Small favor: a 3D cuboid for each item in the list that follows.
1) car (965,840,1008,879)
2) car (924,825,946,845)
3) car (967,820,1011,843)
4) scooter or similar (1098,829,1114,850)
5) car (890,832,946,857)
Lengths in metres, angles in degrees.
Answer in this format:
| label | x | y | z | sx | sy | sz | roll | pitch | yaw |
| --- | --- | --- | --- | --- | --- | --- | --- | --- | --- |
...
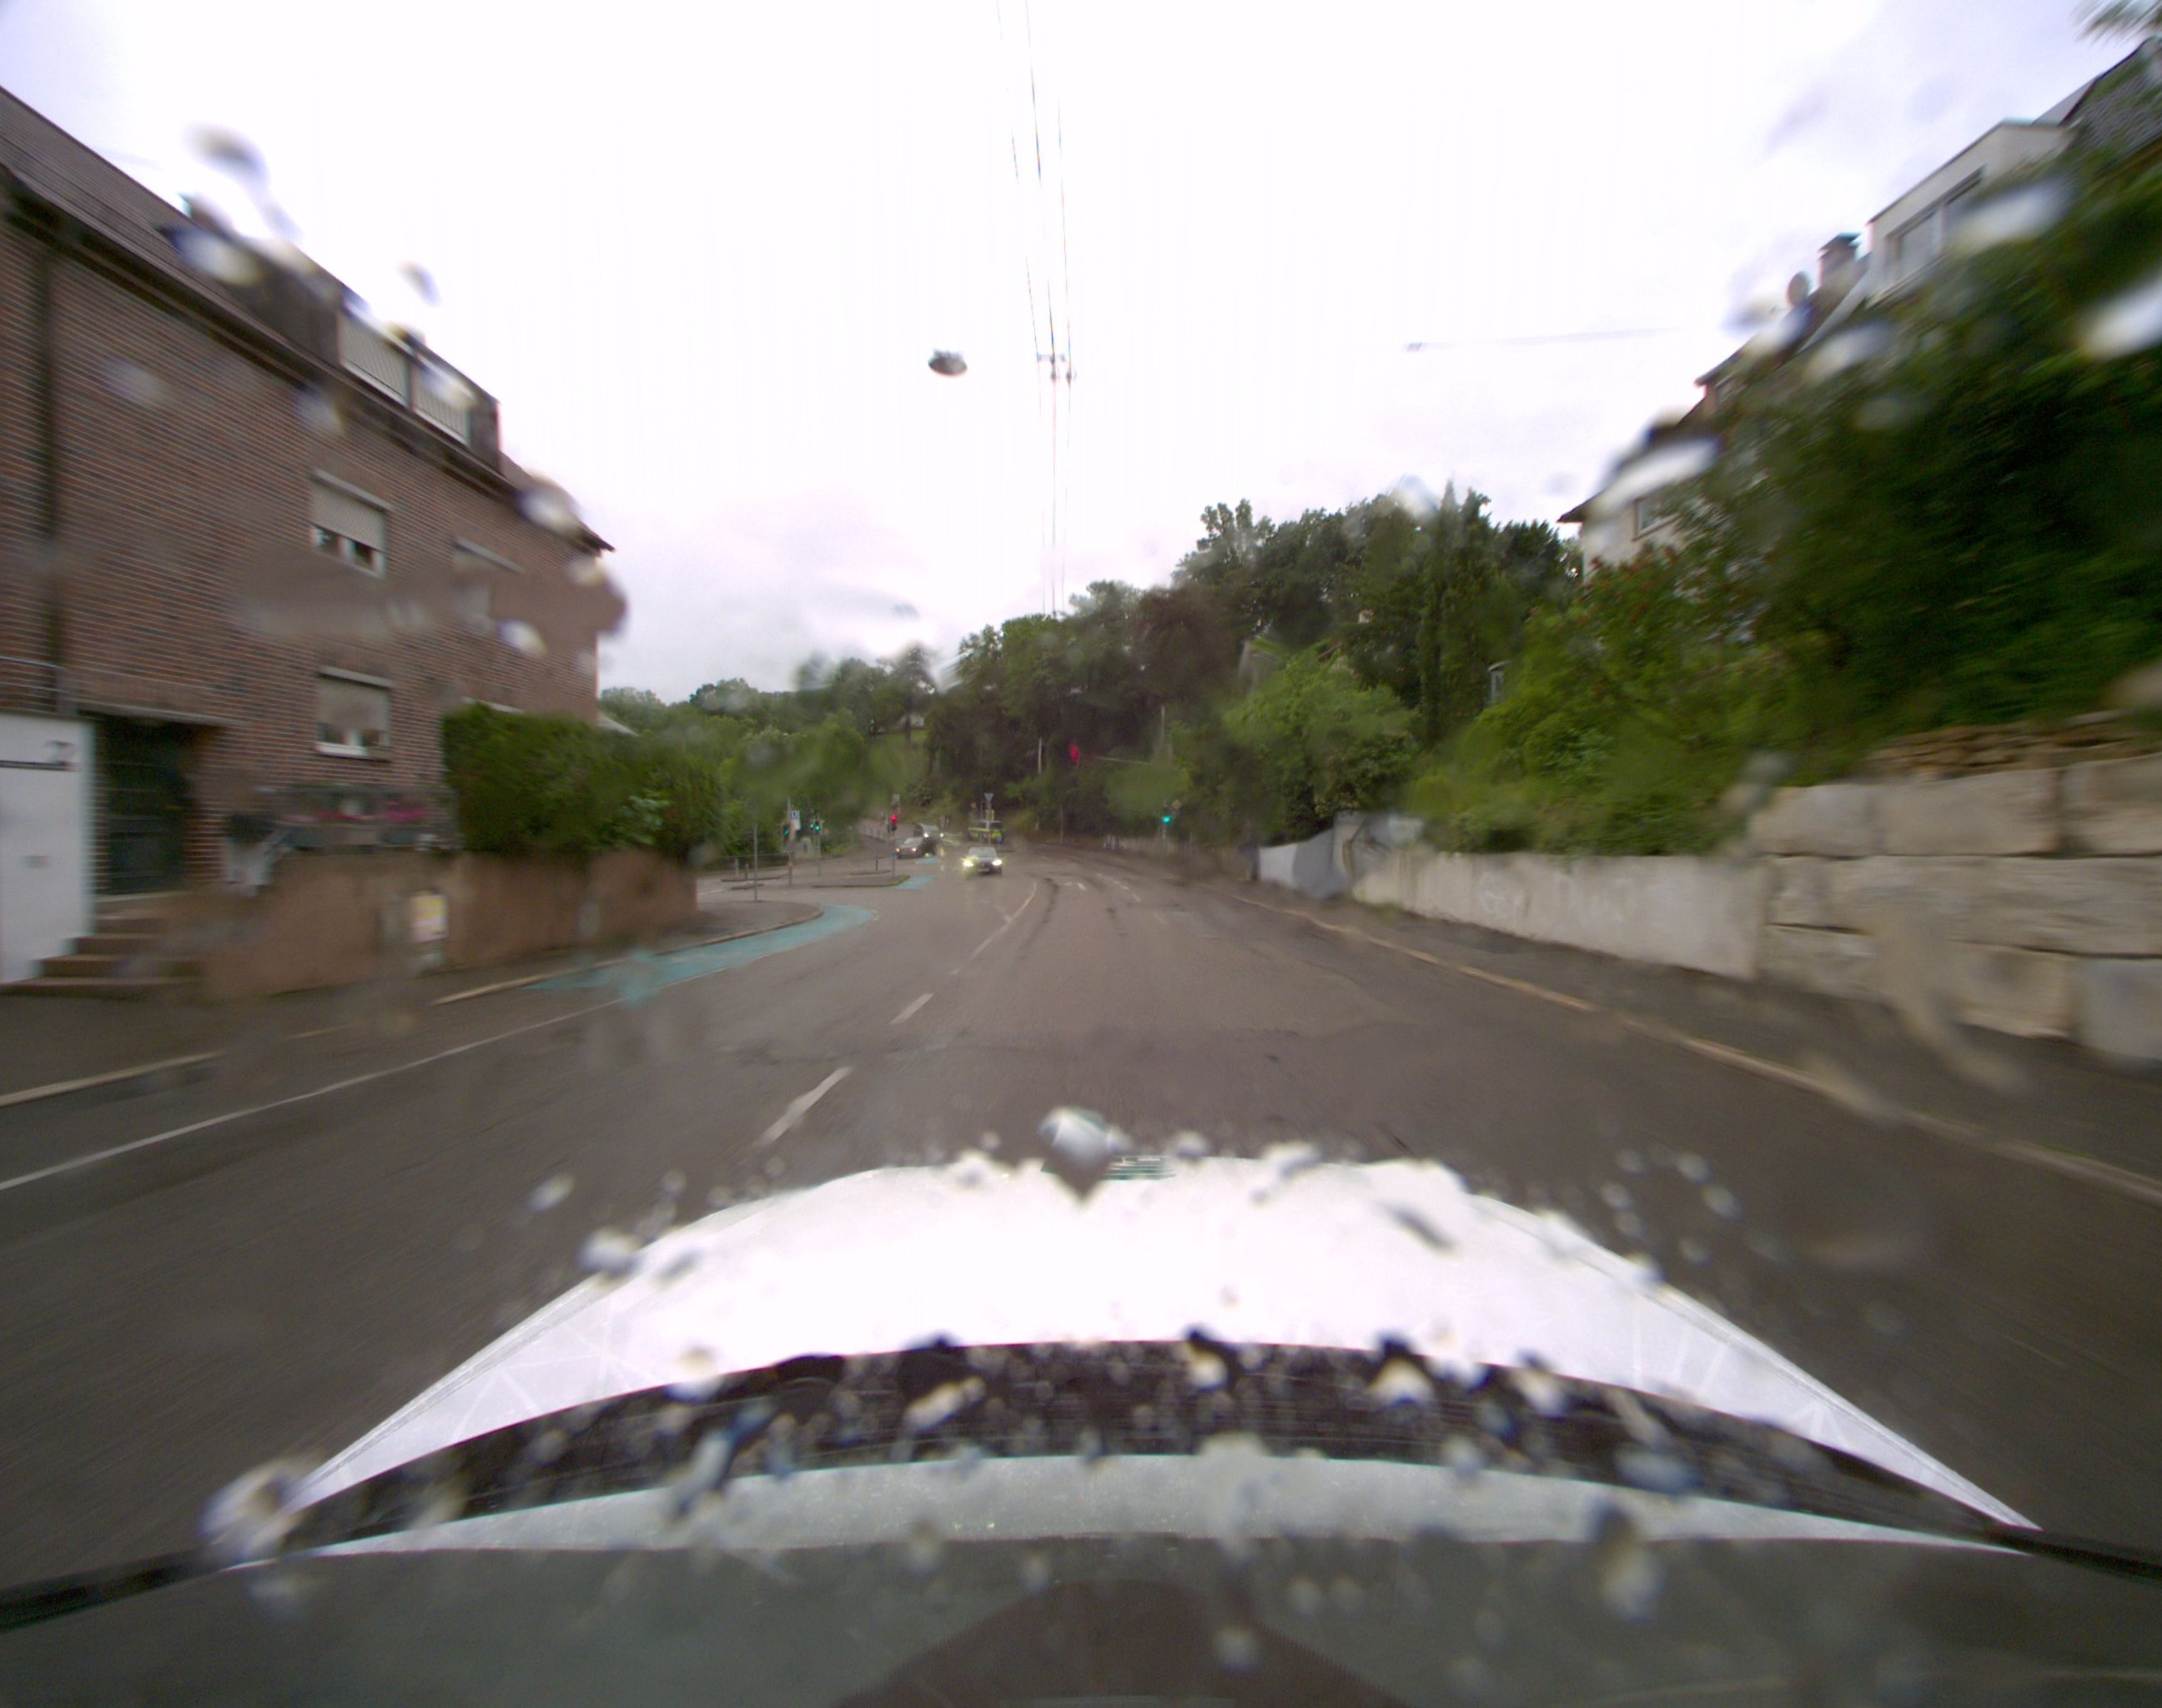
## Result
| label | x | y | z | sx | sy | sz | roll | pitch | yaw |
| --- | --- | --- | --- | --- | --- | --- | --- | --- | --- |
| car | -4.457 | 0.209 | 38.895 | 1.737 | 1.549 | 3.997 | -2 | 3 | -3 |
| car | -13.064 | -1.722 | 72.718 | 1.742 | 1.549 | 3.985 | -3 | 3 | -12 |
| car | -8.374 | -2.084 | 73.743 | 2.324 | 1.938 | 4.282 | -4 | 4 | -32 |
| scooter or similar | 1.830 | -1.126 | 60.901 | 0.617 | 1.421 | 2.150 | -2 | 5 | -14 |
| car | -11.705 | -0.727 | 58.726 | 1.725 | 1.550 | 4.025 | -2 | 2 | 26 |
